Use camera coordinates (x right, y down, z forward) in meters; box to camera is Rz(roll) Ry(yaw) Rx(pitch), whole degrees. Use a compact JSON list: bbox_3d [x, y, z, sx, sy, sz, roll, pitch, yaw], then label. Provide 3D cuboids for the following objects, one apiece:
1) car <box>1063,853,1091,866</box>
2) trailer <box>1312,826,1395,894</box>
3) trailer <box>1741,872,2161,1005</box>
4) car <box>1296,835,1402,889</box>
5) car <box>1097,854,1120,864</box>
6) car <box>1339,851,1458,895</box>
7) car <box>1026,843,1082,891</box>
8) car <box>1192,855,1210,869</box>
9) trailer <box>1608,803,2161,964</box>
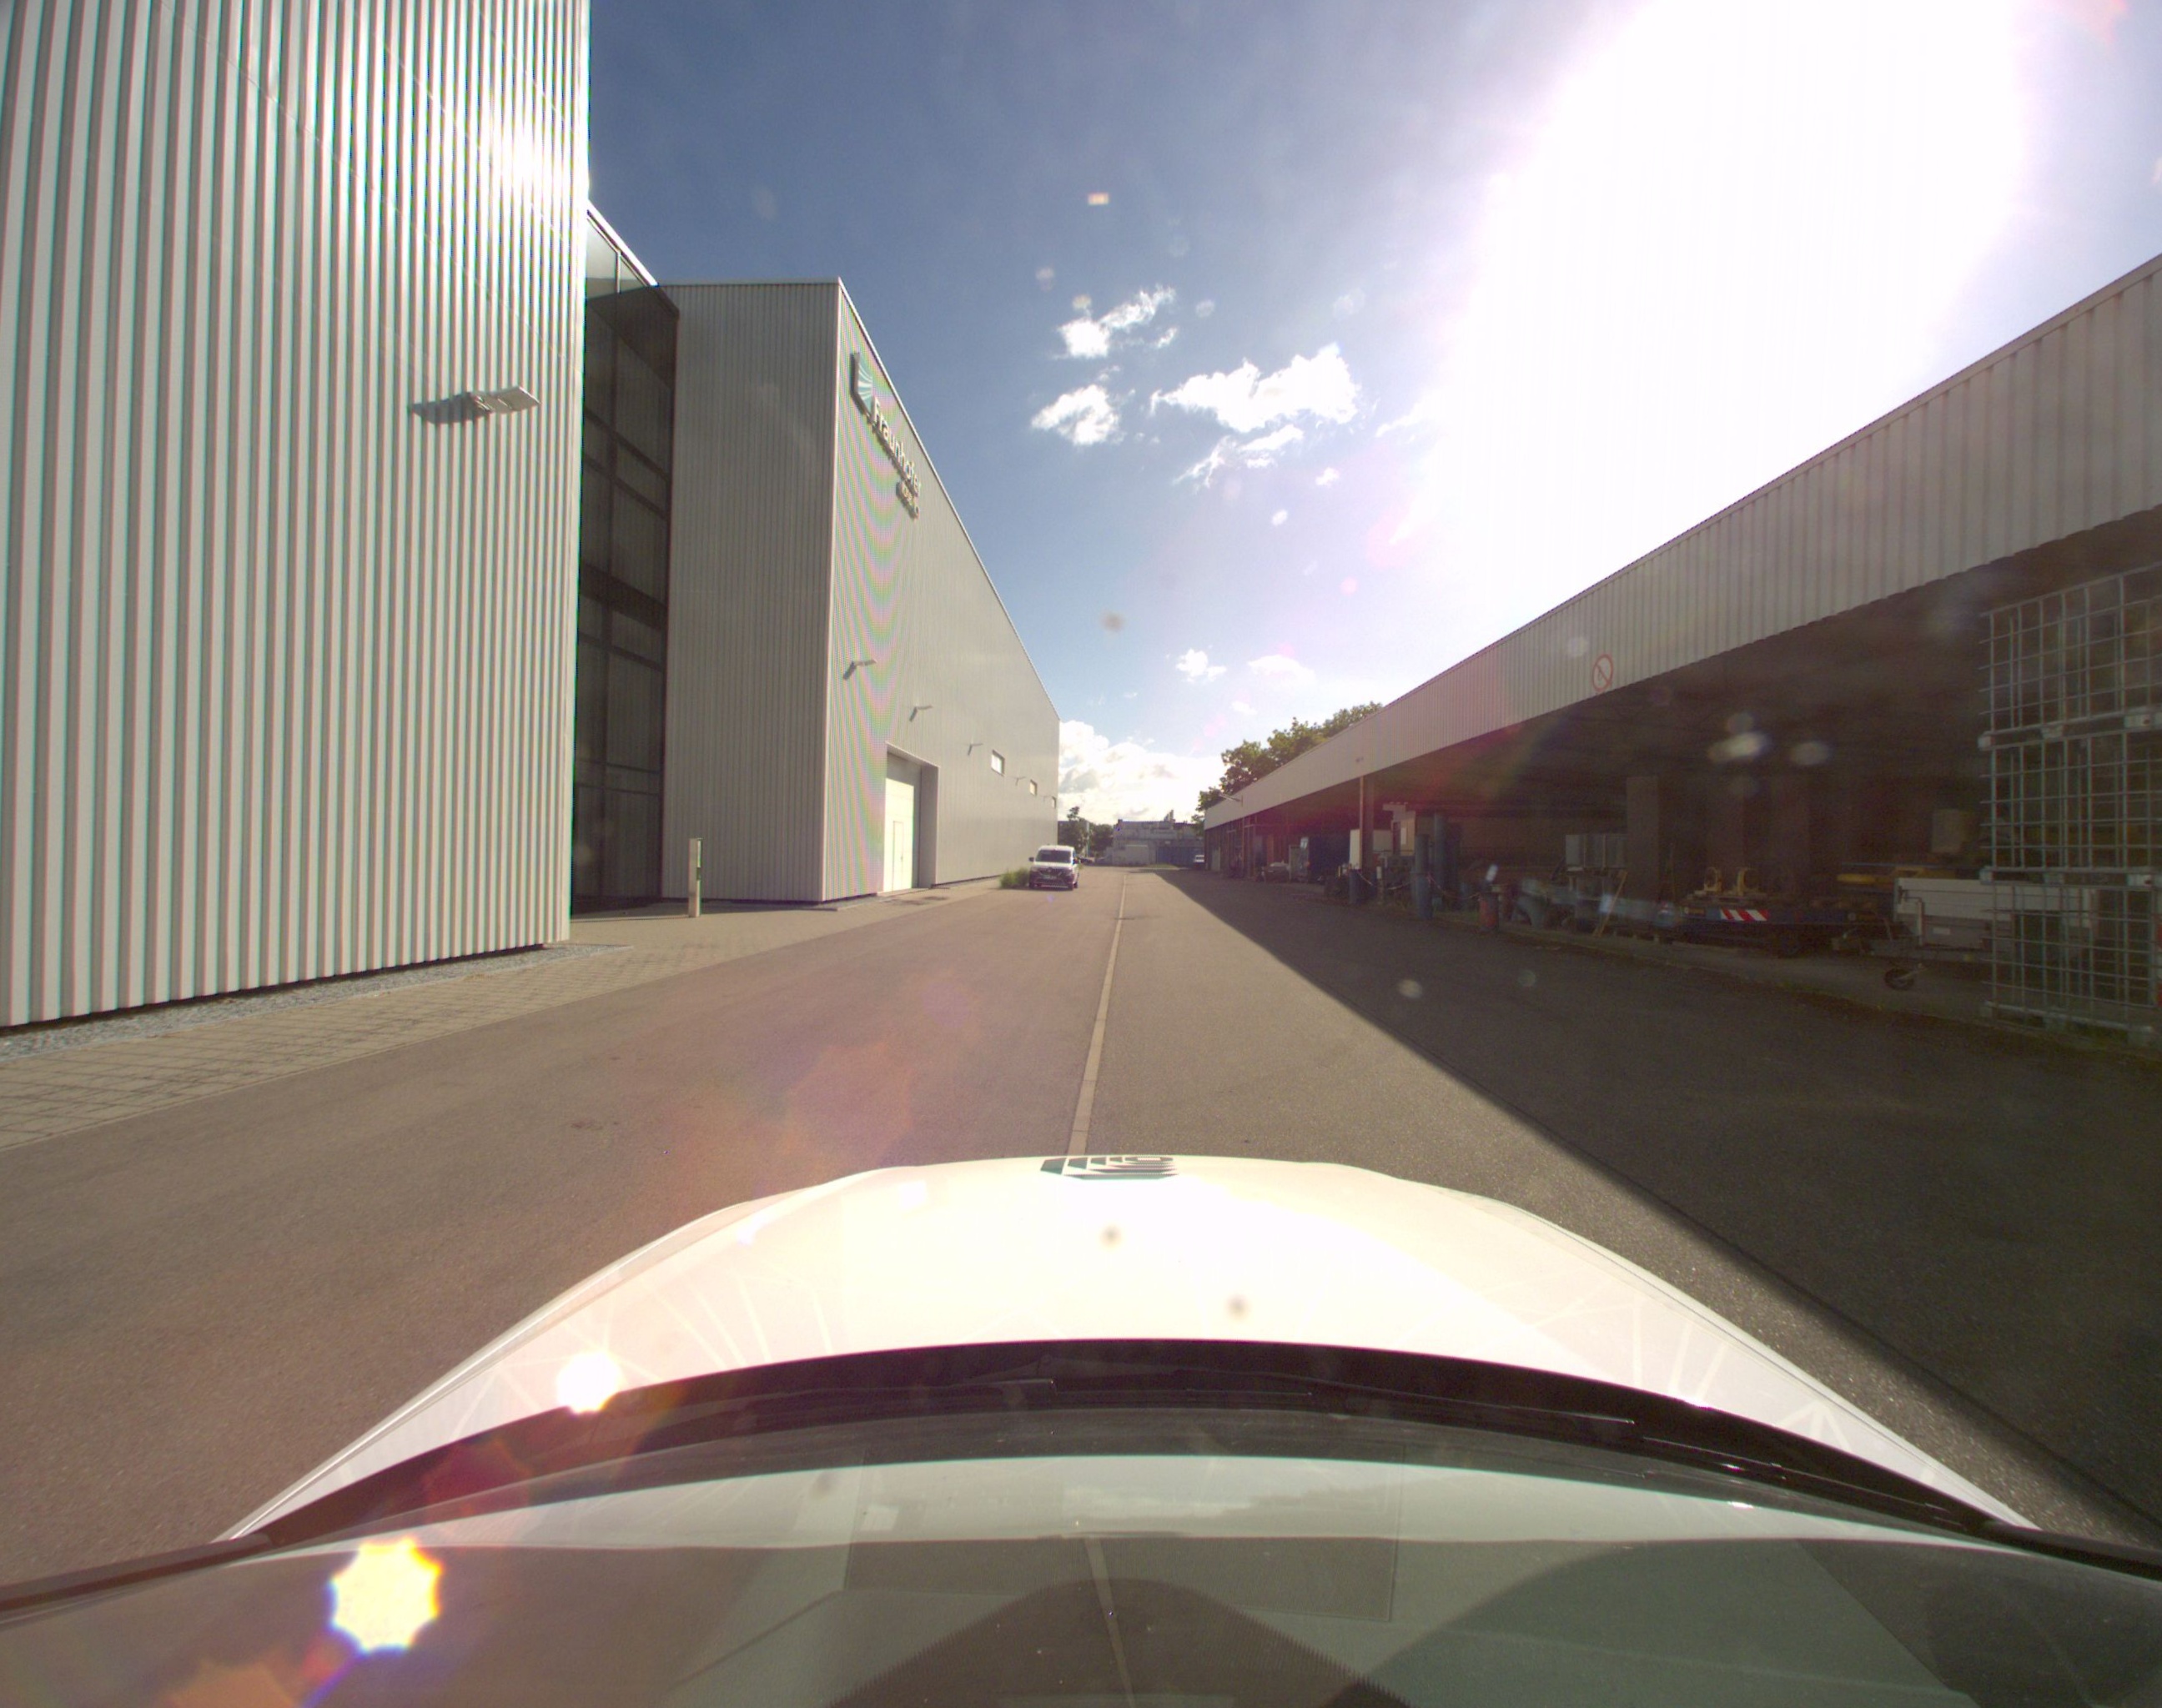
[{"bbox_3d":[-0.545,0.795,116.294,3.972,1.598,1.742,2,-2,2],"label":"car"},{"bbox_3d":[9.974,0.234,29.955,2.512,2.399,1.728,1,-1,4],"label":"trailer"},{"bbox_3d":[10.596,0.801,8.413,5.826,1.133,2.142,0,0,1],"label":"trailer"},{"bbox_3d":[12.649,0.392,38.631,4.413,2.310,1.917,2,-2,4],"label":"car"},{"bbox_3d":[4.888,0.844,143.972,3.972,1.598,1.849,2,-2,2],"label":"car"},{"bbox_3d":[12.446,0.767,32.104,4.020,1.525,1.686,2,-2,4],"label":"car"},{"bbox_3d":[-1.051,0.489,33.942,1.811,1.787,4.410,2,0,4],"label":"car"},{"bbox_3d":[15.145,0.972,103.109,1.953,1.564,4.065,2,1,5],"label":"car"},{"bbox_3d":[11.091,0.364,11.607,5.740,2.032,2.080,0,0,4],"label":"trailer"}]
